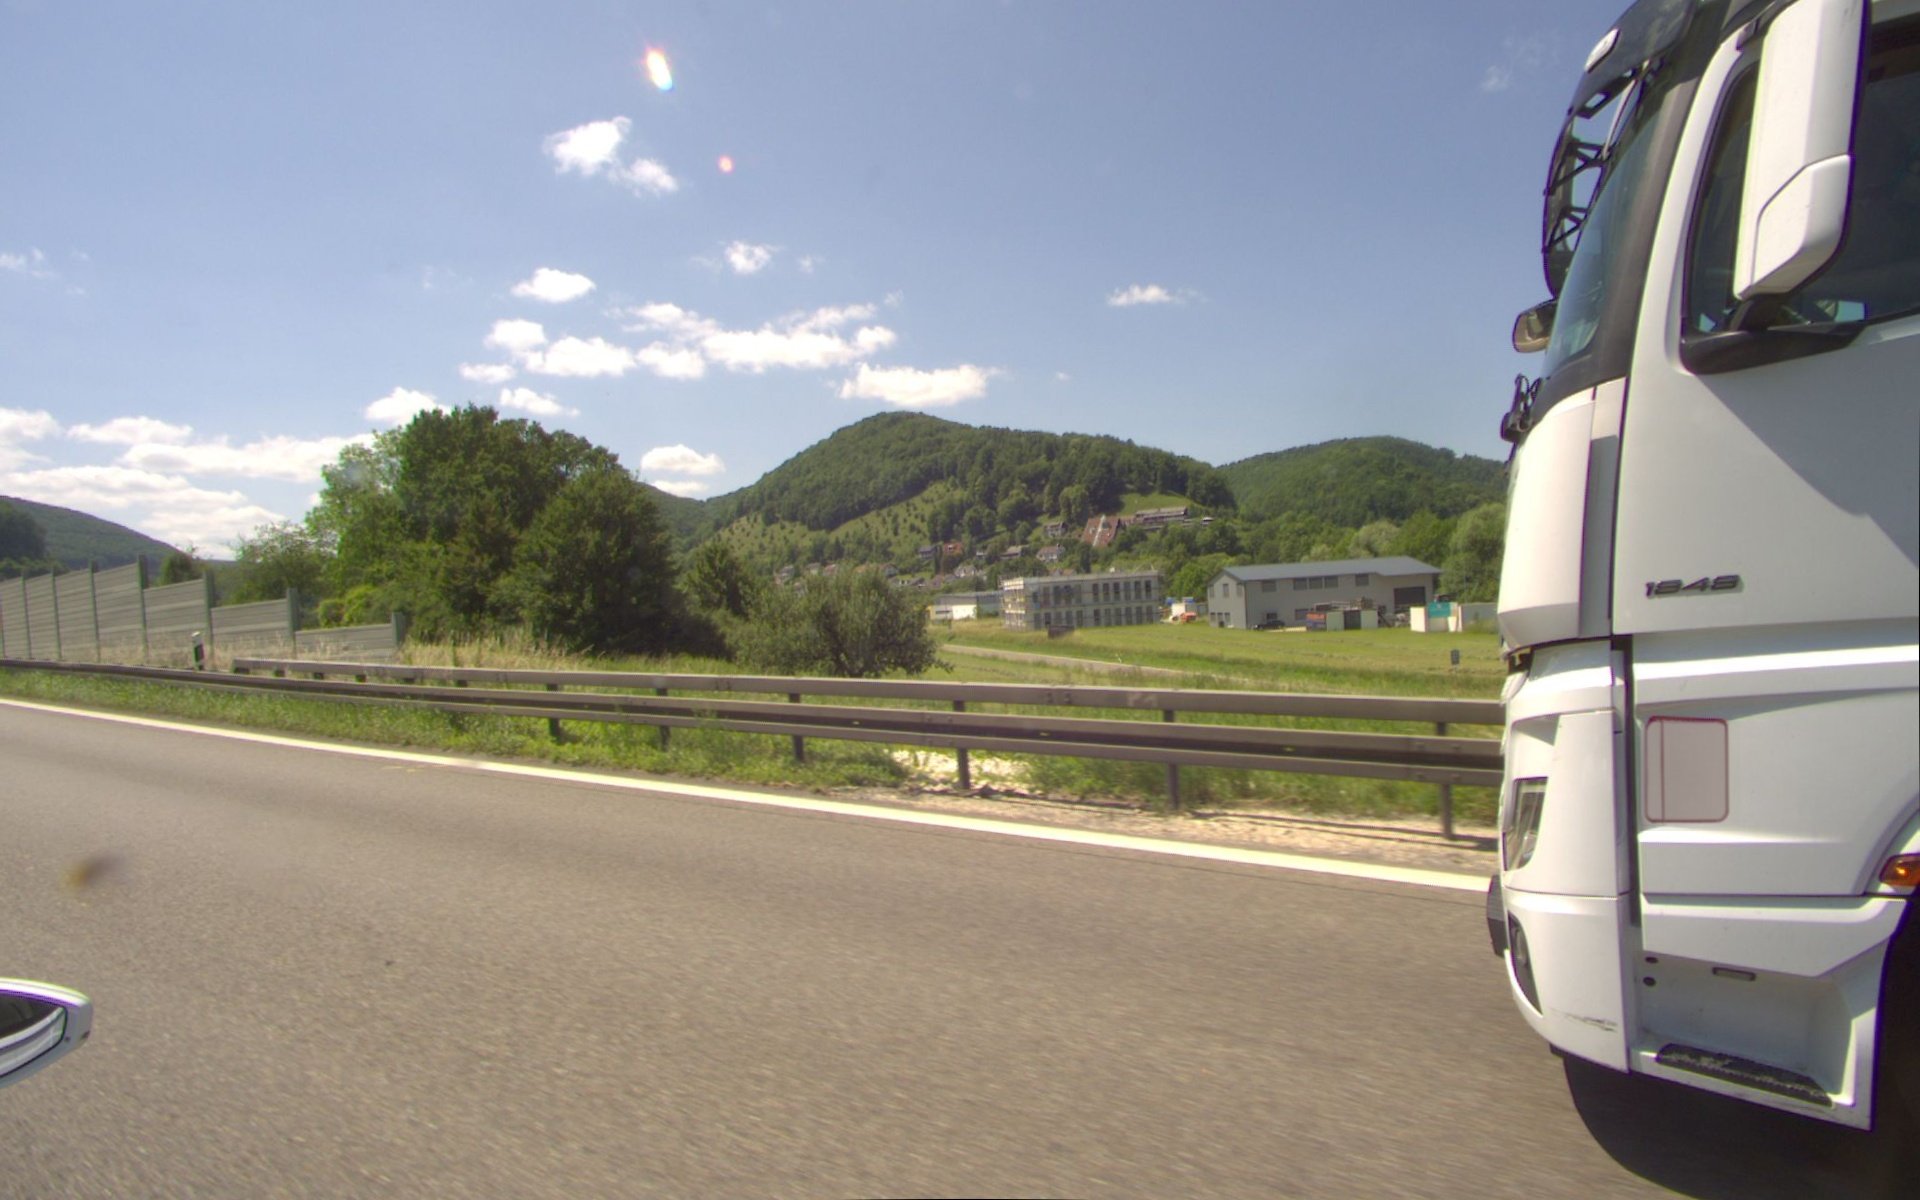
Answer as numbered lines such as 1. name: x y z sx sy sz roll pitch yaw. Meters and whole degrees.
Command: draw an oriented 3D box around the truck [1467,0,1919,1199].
1. truck: 4.454 -0.545 2.425 5.667 4.120 2.716 -1 -1 29
